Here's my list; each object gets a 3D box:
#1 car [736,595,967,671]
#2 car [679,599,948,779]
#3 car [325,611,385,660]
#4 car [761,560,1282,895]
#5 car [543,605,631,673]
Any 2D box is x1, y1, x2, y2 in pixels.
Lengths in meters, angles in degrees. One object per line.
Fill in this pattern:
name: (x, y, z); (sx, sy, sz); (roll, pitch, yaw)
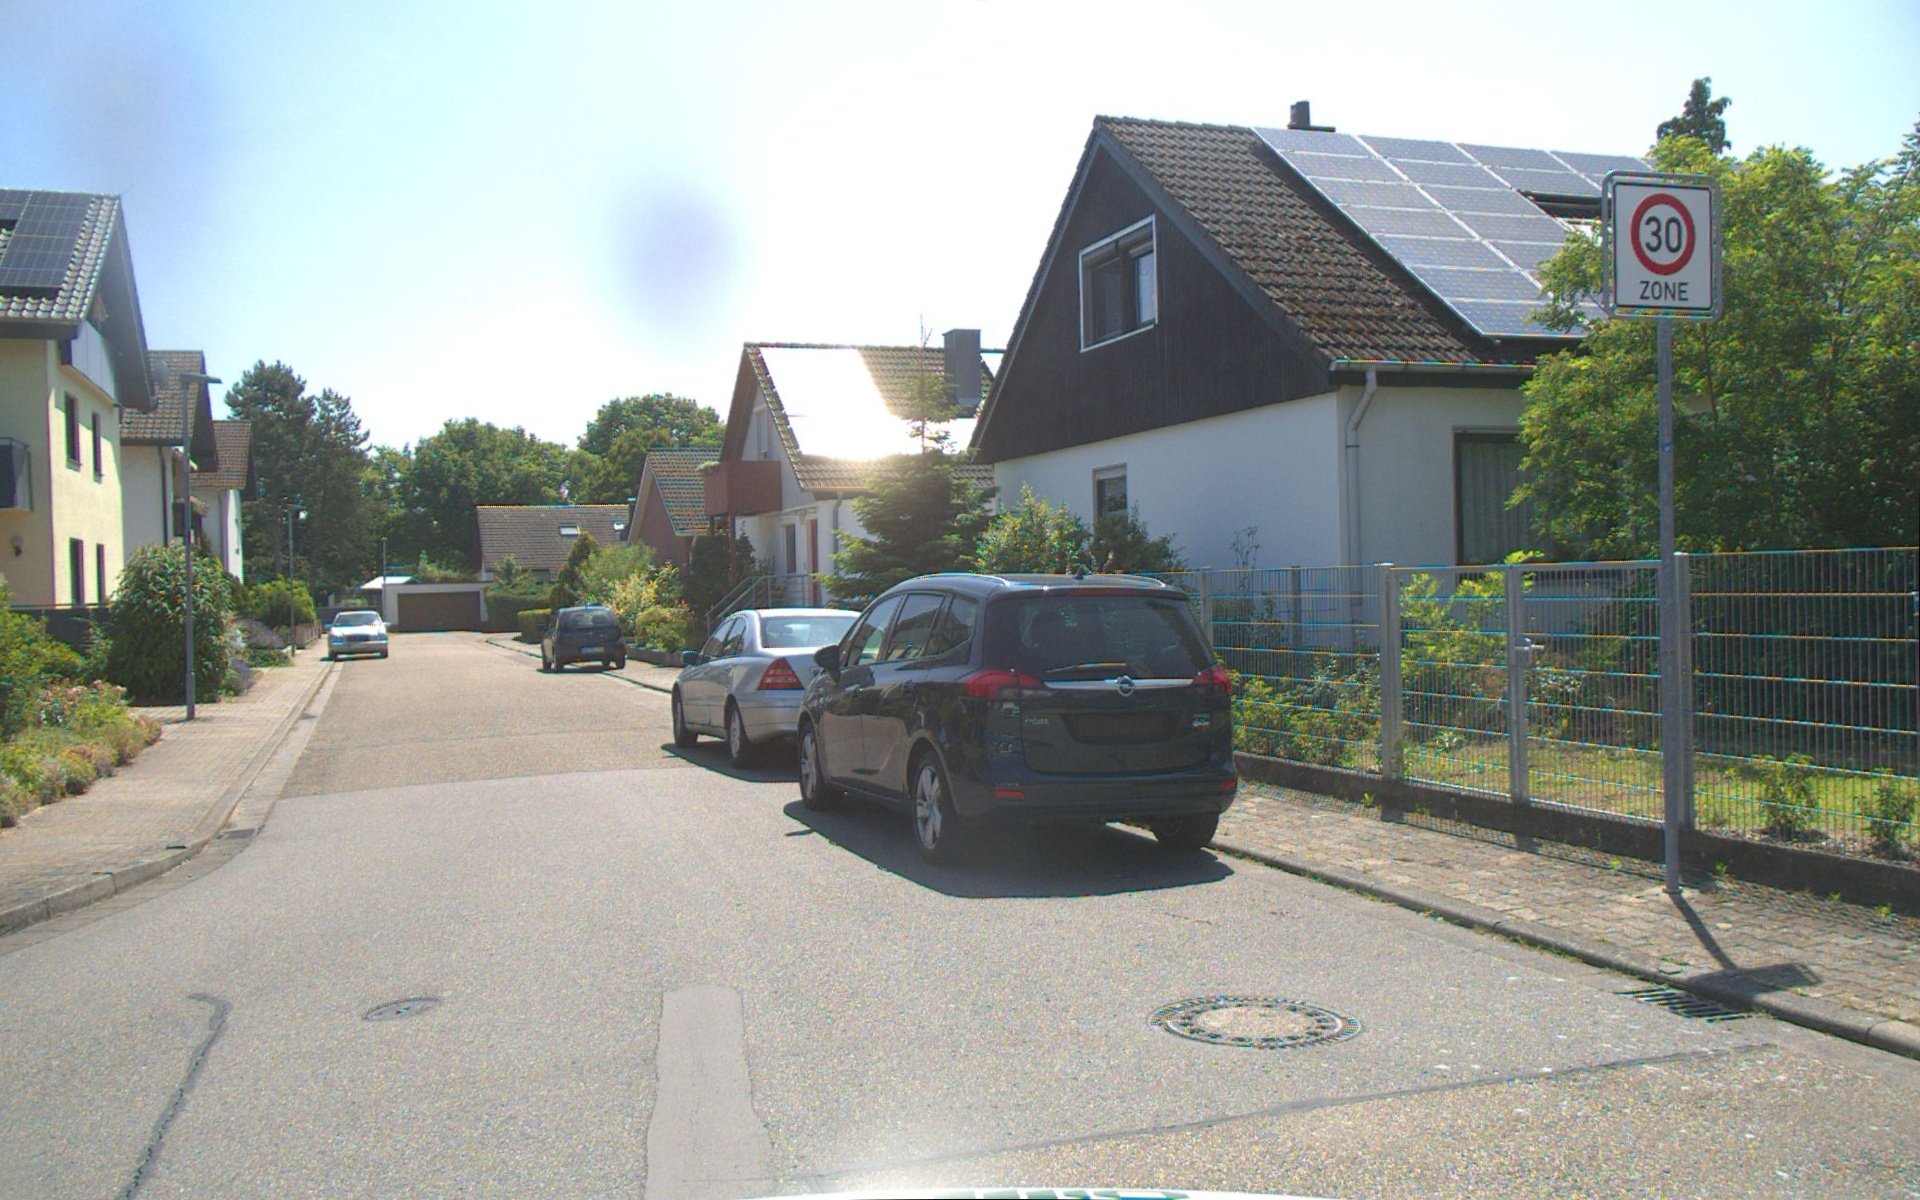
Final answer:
car: (-2.283, 0.655, 34.453); (4.467, 1.421, 1.942); (-1, 0, -18)
car: (-1.596, 0.763, 16.413); (1.661, 1.485, 4.313); (-2, 0, -19)
car: (-19.088, 1.090, 52.296); (1.674, 1.417, 4.313); (-1, 0, -19)
car: (0.119, 0.645, 11.091); (1.933, 1.691, 4.657); (-2, 1, -19)
car: (-8.820, 0.878, 38.892); (1.625, 1.465, 3.631); (-1, 0, -19)
